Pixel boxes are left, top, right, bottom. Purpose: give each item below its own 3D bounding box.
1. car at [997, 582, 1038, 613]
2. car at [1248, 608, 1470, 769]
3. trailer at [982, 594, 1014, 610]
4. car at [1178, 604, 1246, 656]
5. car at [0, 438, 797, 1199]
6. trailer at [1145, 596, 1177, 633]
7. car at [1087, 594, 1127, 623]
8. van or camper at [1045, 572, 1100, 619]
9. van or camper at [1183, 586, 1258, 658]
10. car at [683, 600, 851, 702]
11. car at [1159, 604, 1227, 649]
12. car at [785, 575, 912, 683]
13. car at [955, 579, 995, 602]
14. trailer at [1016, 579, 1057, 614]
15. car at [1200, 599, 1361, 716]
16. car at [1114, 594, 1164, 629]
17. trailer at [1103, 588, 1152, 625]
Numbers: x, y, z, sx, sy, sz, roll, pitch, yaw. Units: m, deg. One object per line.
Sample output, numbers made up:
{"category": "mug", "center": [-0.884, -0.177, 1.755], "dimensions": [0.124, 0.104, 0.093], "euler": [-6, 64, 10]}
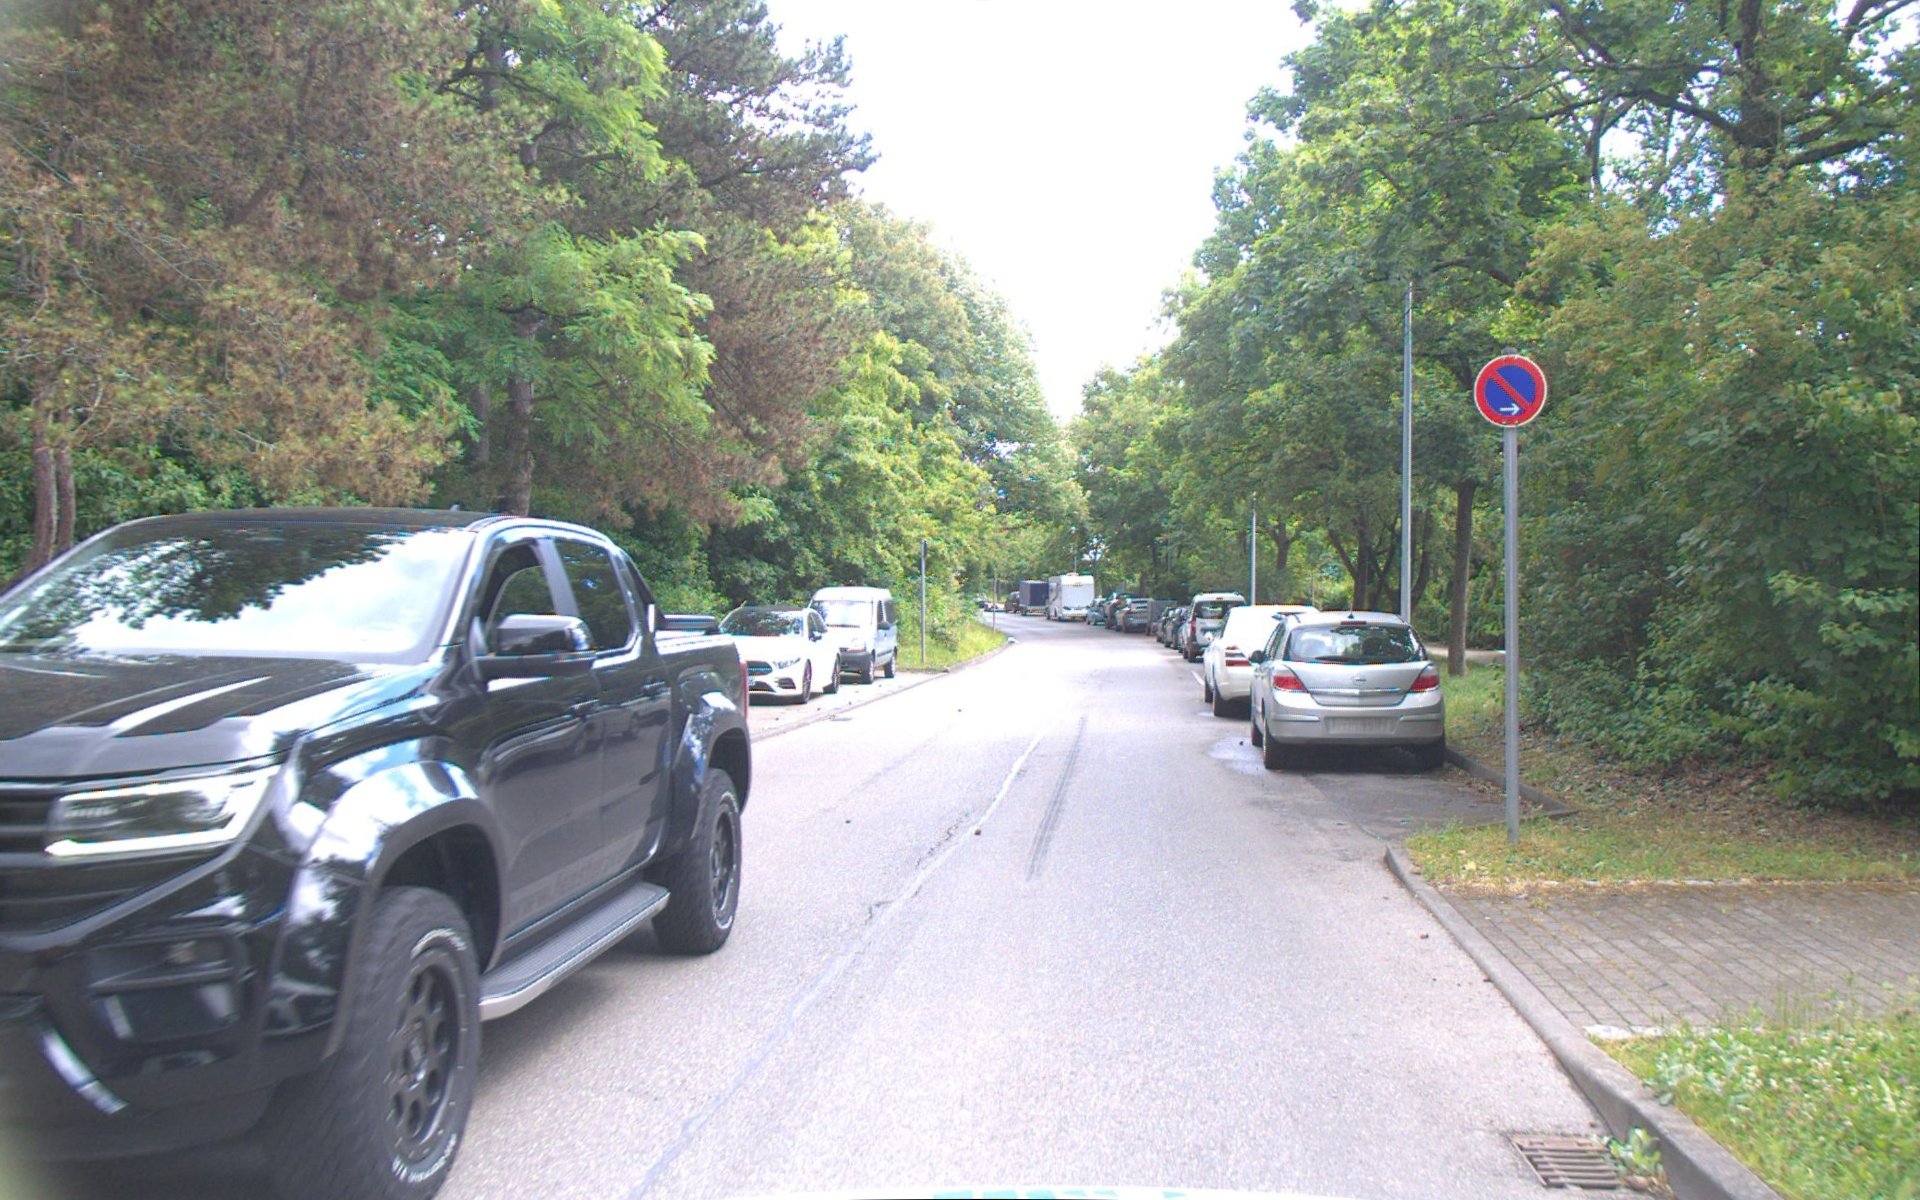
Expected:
{"category": "car", "center": [4.252, -0.229, 123.738], "dimensions": [1.961, 2.061, 3.985], "euler": [-3, 3, -15]}
{"category": "car", "center": [3.938, 0.810, 16.928], "dimensions": [1.754, 1.435, 4.062], "euler": [-1, 0, 7]}
{"category": "trailer", "center": [2.892, 0.147, 127.848], "dimensions": [1.623, 1.105, 3.989], "euler": [-2, 1, -11]}
{"category": "car", "center": [7.787, 0.899, 51.415], "dimensions": [1.774, 1.462, 4.245], "euler": [1, 0, 5]}
{"category": "car", "center": [-2.026, 0.577, 5.910], "dimensions": [1.951, 1.766, 5.340], "euler": [0, 0, 5]}
{"category": "trailer", "center": [9.168, 0.647, 75.539], "dimensions": [1.252, 1.613, 2.461], "euler": [0, 0, 1]}
{"category": "car", "center": [8.662, 0.494, 97.528], "dimensions": [1.764, 1.589, 3.832], "euler": [-1, 1, -4]}
{"category": "van or camper", "center": [7.257, -0.292, 107.829], "dimensions": [2.434, 2.926, 6.880], "euler": [0, 0, -6]}
{"category": "van or camper", "center": [7.128, 0.624, 45.592], "dimensions": [1.764, 1.870, 4.323], "euler": [0, -1, 5]}
{"category": "car", "center": [-2.984, 0.741, 26.436], "dimensions": [1.767, 1.427, 4.374], "euler": [2, 0, 5]}
{"category": "car", "center": [8.152, 0.908, 58.237], "dimensions": [1.809, 1.500, 4.479], "euler": [0, 0, 1]}
{"category": "car", "center": [-2.144, 0.507, 32.978], "dimensions": [1.684, 1.955, 4.108], "euler": [2, 1, 8]}
{"category": "car", "center": [1.224, -0.788, 136.997], "dimensions": [2.004, 1.835, 4.060], "euler": [-1, 1, -19]}
{"category": "trailer", "center": [5.467, -0.275, 118.603], "dimensions": [1.960, 2.440, 3.986], "euler": [0, 0, -14]}
{"category": "car", "center": [4.589, 0.750, 24.348], "dimensions": [1.846, 1.533, 5.179], "euler": [0, 0, 6]}
{"category": "car", "center": [8.835, 0.593, 81.830], "dimensions": [1.756, 1.699, 4.498], "euler": [0, -1, -3]}
{"category": "trailer", "center": [8.907, 0.302, 88.154], "dimensions": [1.939, 1.843, 5.147], "euler": [-1, 1, -2]}
